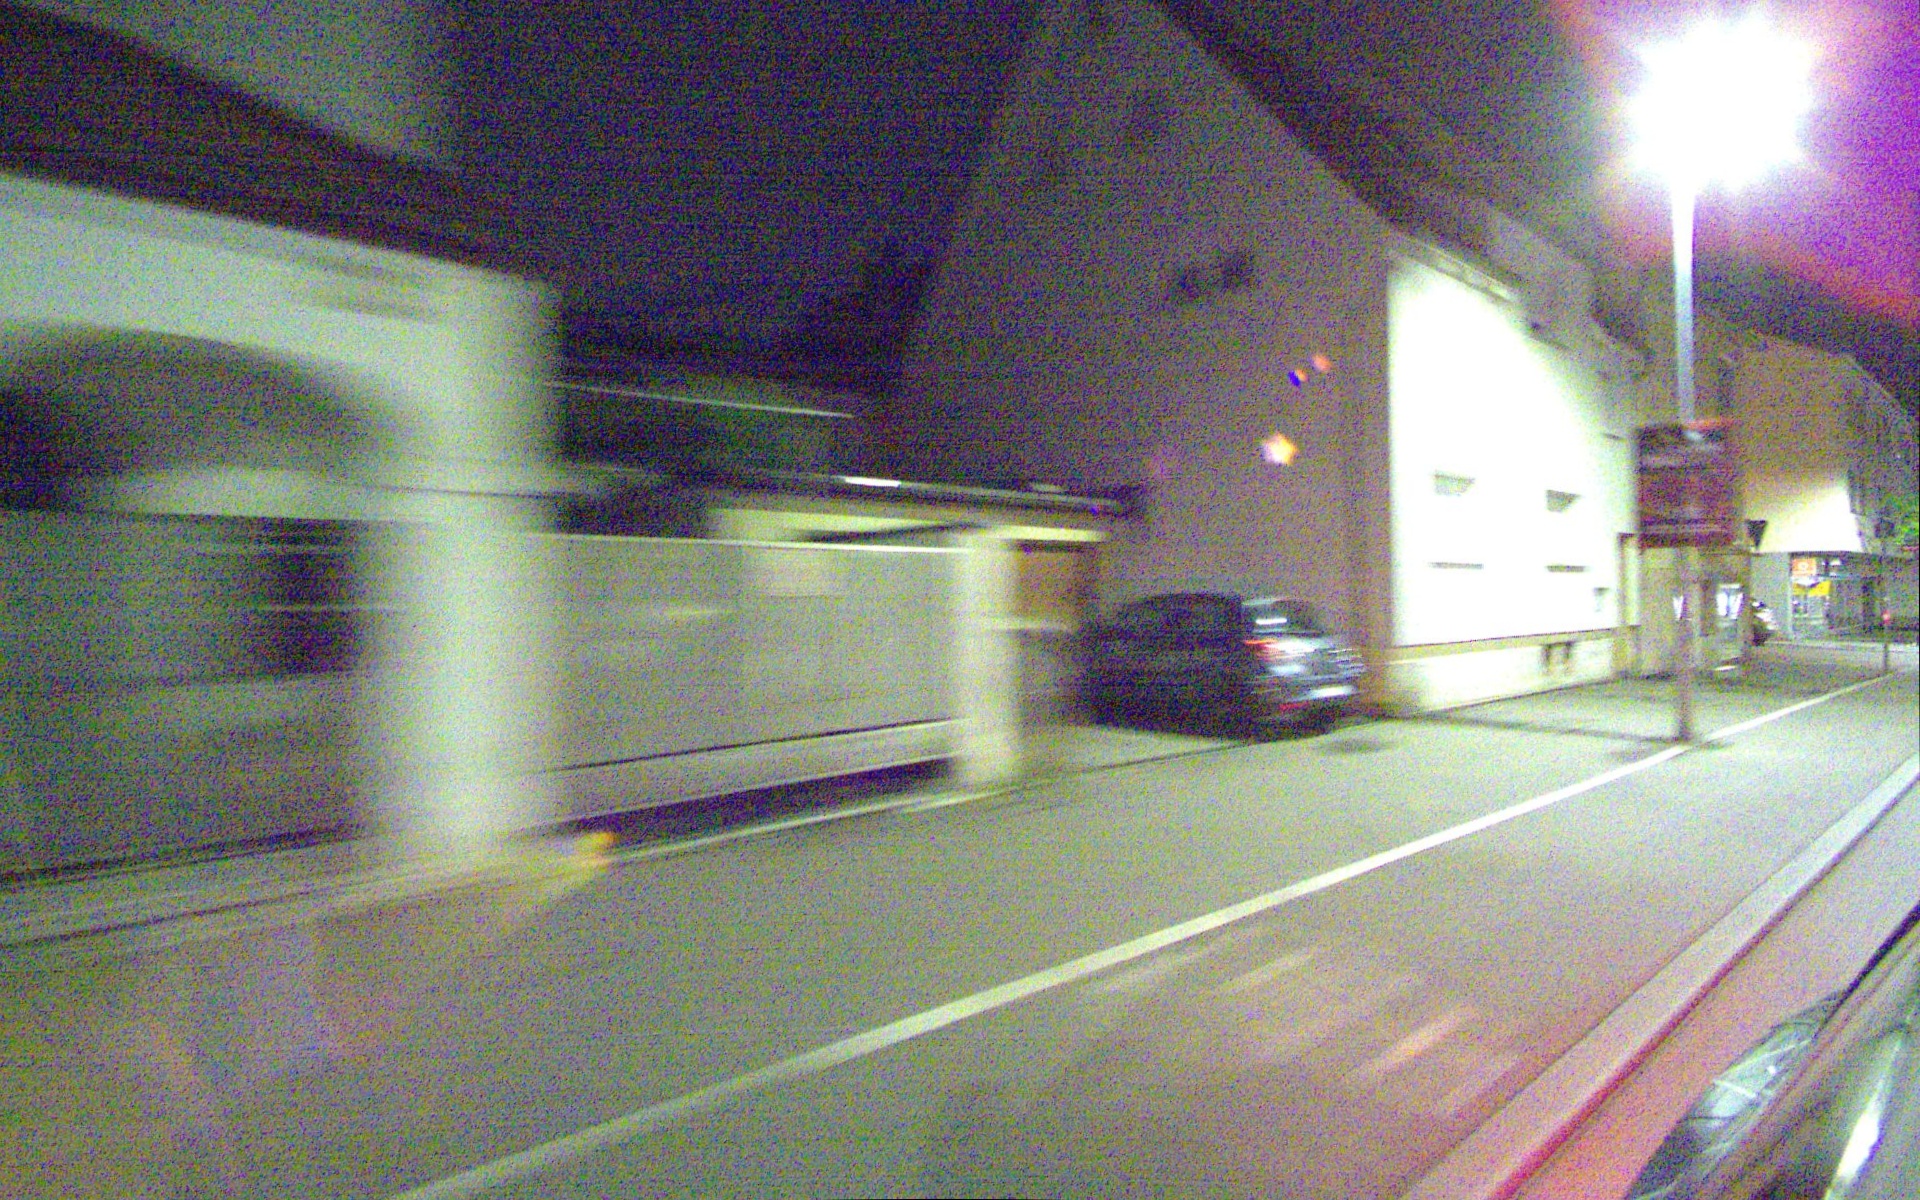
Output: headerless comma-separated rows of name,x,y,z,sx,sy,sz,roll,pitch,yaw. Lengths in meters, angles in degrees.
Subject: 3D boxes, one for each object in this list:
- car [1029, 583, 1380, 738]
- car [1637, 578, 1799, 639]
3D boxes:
car,2.659,0.570,11.707,1.699,1.491,3.721,0,0,-38
car,22.527,0.199,30.152,1.789,1.543,3.513,0,4,-41
